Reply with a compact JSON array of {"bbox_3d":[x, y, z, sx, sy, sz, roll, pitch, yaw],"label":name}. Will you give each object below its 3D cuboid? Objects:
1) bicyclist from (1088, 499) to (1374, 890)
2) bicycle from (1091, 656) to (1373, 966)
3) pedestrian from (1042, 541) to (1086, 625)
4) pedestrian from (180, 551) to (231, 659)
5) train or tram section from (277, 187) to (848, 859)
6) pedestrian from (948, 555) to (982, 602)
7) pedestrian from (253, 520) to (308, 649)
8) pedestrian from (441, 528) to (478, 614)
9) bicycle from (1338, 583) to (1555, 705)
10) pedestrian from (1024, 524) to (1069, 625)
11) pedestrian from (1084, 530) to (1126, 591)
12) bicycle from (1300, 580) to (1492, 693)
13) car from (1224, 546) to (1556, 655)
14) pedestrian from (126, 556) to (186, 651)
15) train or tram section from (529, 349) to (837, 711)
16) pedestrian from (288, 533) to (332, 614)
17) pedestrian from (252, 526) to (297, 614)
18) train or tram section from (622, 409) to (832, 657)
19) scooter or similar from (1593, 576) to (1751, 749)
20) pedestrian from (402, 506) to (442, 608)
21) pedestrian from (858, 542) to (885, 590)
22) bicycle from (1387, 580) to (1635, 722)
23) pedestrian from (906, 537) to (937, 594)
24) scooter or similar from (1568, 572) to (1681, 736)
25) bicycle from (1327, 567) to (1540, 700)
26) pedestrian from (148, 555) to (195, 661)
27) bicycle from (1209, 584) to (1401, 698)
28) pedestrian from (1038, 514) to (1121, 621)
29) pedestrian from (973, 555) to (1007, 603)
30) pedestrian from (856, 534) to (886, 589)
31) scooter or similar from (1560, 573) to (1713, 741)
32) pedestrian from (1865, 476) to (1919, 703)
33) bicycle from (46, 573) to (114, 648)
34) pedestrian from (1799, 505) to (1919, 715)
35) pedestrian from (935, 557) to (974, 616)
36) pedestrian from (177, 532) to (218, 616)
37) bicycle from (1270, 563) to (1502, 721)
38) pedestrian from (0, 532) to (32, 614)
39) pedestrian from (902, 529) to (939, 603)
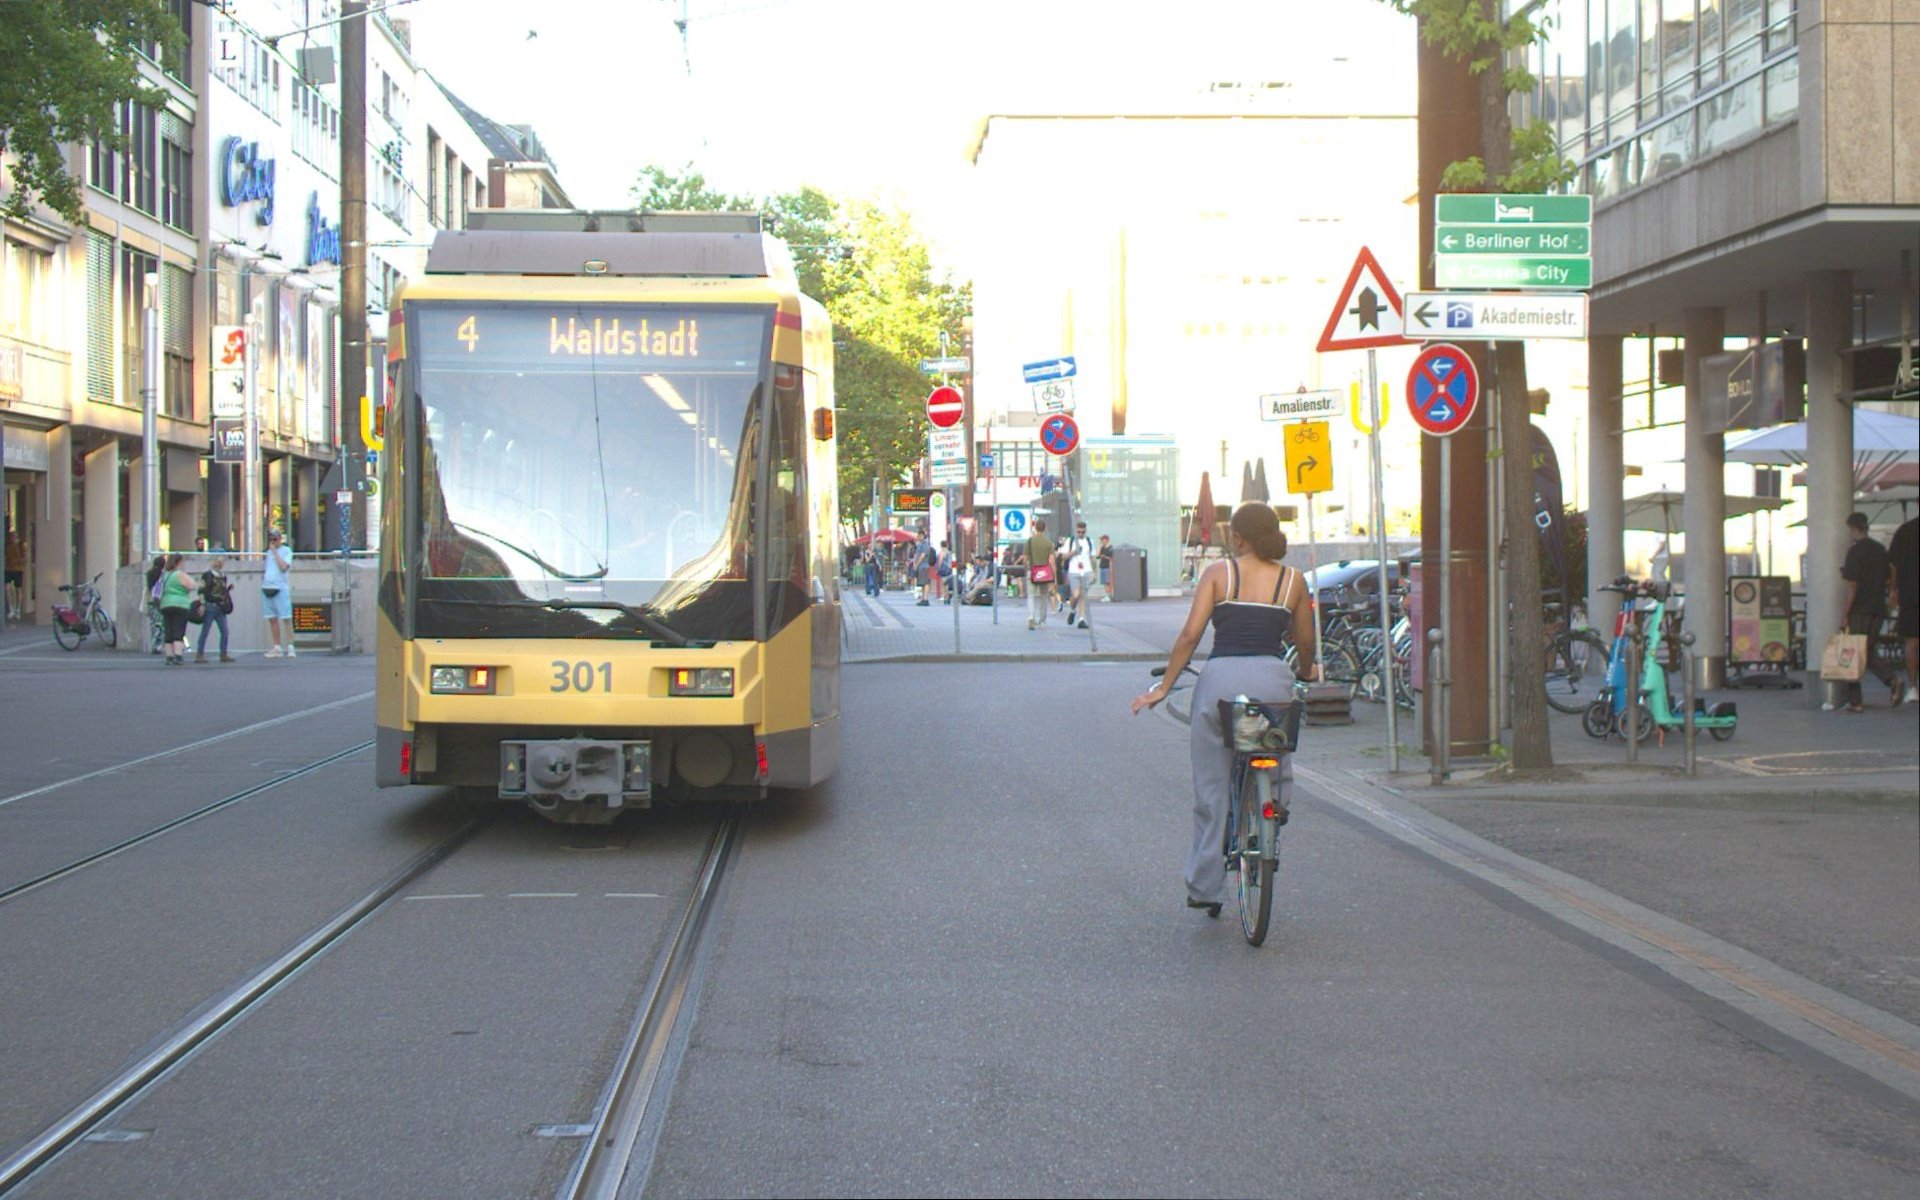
[{"bbox_3d":[1.072,0.363,13.814,0.997,1.497,0.857,2,1,-3],"label":"bicyclist"},{"bbox_3d":[1.061,0.808,13.927,0.815,1.069,2.114,2,1,-4],"label":"bicycle"},{"bbox_3d":[2.246,-0.374,74.403,0.733,1.817,0.820,0,1,-16],"label":"pedestrian"},{"bbox_3d":[-10.853,0.068,49.463,0.684,1.536,0.605,0,0,-11],"label":"pedestrian"},{"bbox_3d":[-2.246,-0.508,24.214,2.800,3.308,14.510,0,1,-2],"label":"train or tram section"},{"bbox_3d":[0.124,-0.554,88.813,0.792,1.217,0.769,0,1,-5],"label":"pedestrian"},{"bbox_3d":[-10.136,-0.230,51.300,0.773,1.919,0.709,0,0,-10],"label":"pedestrian"},{"bbox_3d":[-9.924,-0.575,68.155,0.713,1.692,0.786,0,0,-8],"label":"pedestrian"},{"bbox_3d":[4.695,0.416,33.230,1.914,1.074,0.763,-2,1,-6],"label":"bicycle"},{"bbox_3d":[1.486,-0.434,59.304,0.718,1.719,0.709,0,0,-2],"label":"pedestrian"},{"bbox_3d":[3.903,-1.067,92.532,0.767,1.655,0.794,-1,1,-43],"label":"pedestrian"},{"bbox_3d":[4.513,0.376,35.633,1.852,1.105,0.667,-1,1,-4],"label":"bicycle"},{"bbox_3d":[5.768,0.015,46.199,4.038,1.404,1.776,1,0,-17],"label":"car"},{"bbox_3d":[-12.177,0.056,52.061,0.555,1.429,0.684,0,0,36],"label":"pedestrian"},{"bbox_3d":[-2.819,-0.772,38.686,2.800,3.308,14.510,0,1,-2],"label":"train or tram section"},{"bbox_3d":[-12.859,-0.523,68.031,0.626,1.583,0.605,0,0,-44],"label":"pedestrian"},{"bbox_3d":[-13.473,-0.580,67.566,0.605,1.719,0.626,0,0,45],"label":"pedestrian"},{"bbox_3d":[-3.402,-1.020,53.202,2.800,3.308,14.510,0,1,-2],"label":"train or tram section"},{"bbox_3d":[5.356,0.457,25.850,1.112,1.247,0.497,-2,2,-32],"label":"scooter or similar"},{"bbox_3d":[-10.178,-0.812,65.038,0.713,1.918,0.709,0,0,-7],"label":"pedestrian"},{"bbox_3d":[-3.059,-1.172,118.548,0.792,1.655,0.769,0,1,10],"label":"pedestrian"},{"bbox_3d":[4.841,0.439,30.236,1.995,1.151,0.726,-2,1,-6],"label":"bicycle"},{"bbox_3d":[-1.139,-1.015,101.177,0.792,1.655,0.769,0,1,10],"label":"pedestrian"},{"bbox_3d":[5.280,0.416,27.276,0.393,1.247,1.189,0,2,36],"label":"scooter or similar"},{"bbox_3d":[4.672,0.319,33.975,1.914,1.218,0.763,-2,1,-6],"label":"bicycle"},{"bbox_3d":[-11.167,0.109,48.702,0.603,1.489,0.555,0,0,-10],"label":"pedestrian"},{"bbox_3d":[3.540,0.411,35.306,1.852,1.105,0.667,-1,1,-4],"label":"bicycle"},{"bbox_3d":[2.103,-0.572,60.381,1.013,1.857,1.042,0,0,-35],"label":"pedestrian"},{"bbox_3d":[0.755,-0.540,88.026,0.792,1.217,0.769,0,1,-5],"label":"pedestrian"},{"bbox_3d":[-2.710,-1.173,104.830,0.767,1.655,0.794,0,1,10],"label":"pedestrian"},{"bbox_3d":[5.250,0.433,26.661,1.187,1.247,0.393,-2,2,-31],"label":"scooter or similar"},{"bbox_3d":[8.587,-0.101,30.843,0.686,2.007,0.783,-1,1,-1],"label":"pedestrian"},{"bbox_3d":[-13.691,0.155,53.535,0.498,1.104,1.800,0,2,3],"label":"bicycle"},{"bbox_3d":[7.537,0.080,28.797,0.763,1.713,0.923,-1,0,-1],"label":"pedestrian"},{"bbox_3d":[-0.151,-0.372,92.891,0.768,1.573,0.793,1,1,28],"label":"pedestrian"},{"bbox_3d":[-15.600,-0.530,70.310,0.713,1.719,0.709,0,0,-3],"label":"pedestrian"},{"bbox_3d":[3.832,0.367,31.023,1.914,1.328,0.726,-2,1,-6],"label":"bicycle"},{"bbox_3d":[-20.041,-0.562,72.602,0.713,1.719,0.709,0,0,-3],"label":"pedestrian"},{"bbox_3d":[-0.979,-0.842,84.962,0.733,1.817,0.820,0,1,-16],"label":"pedestrian"}]
